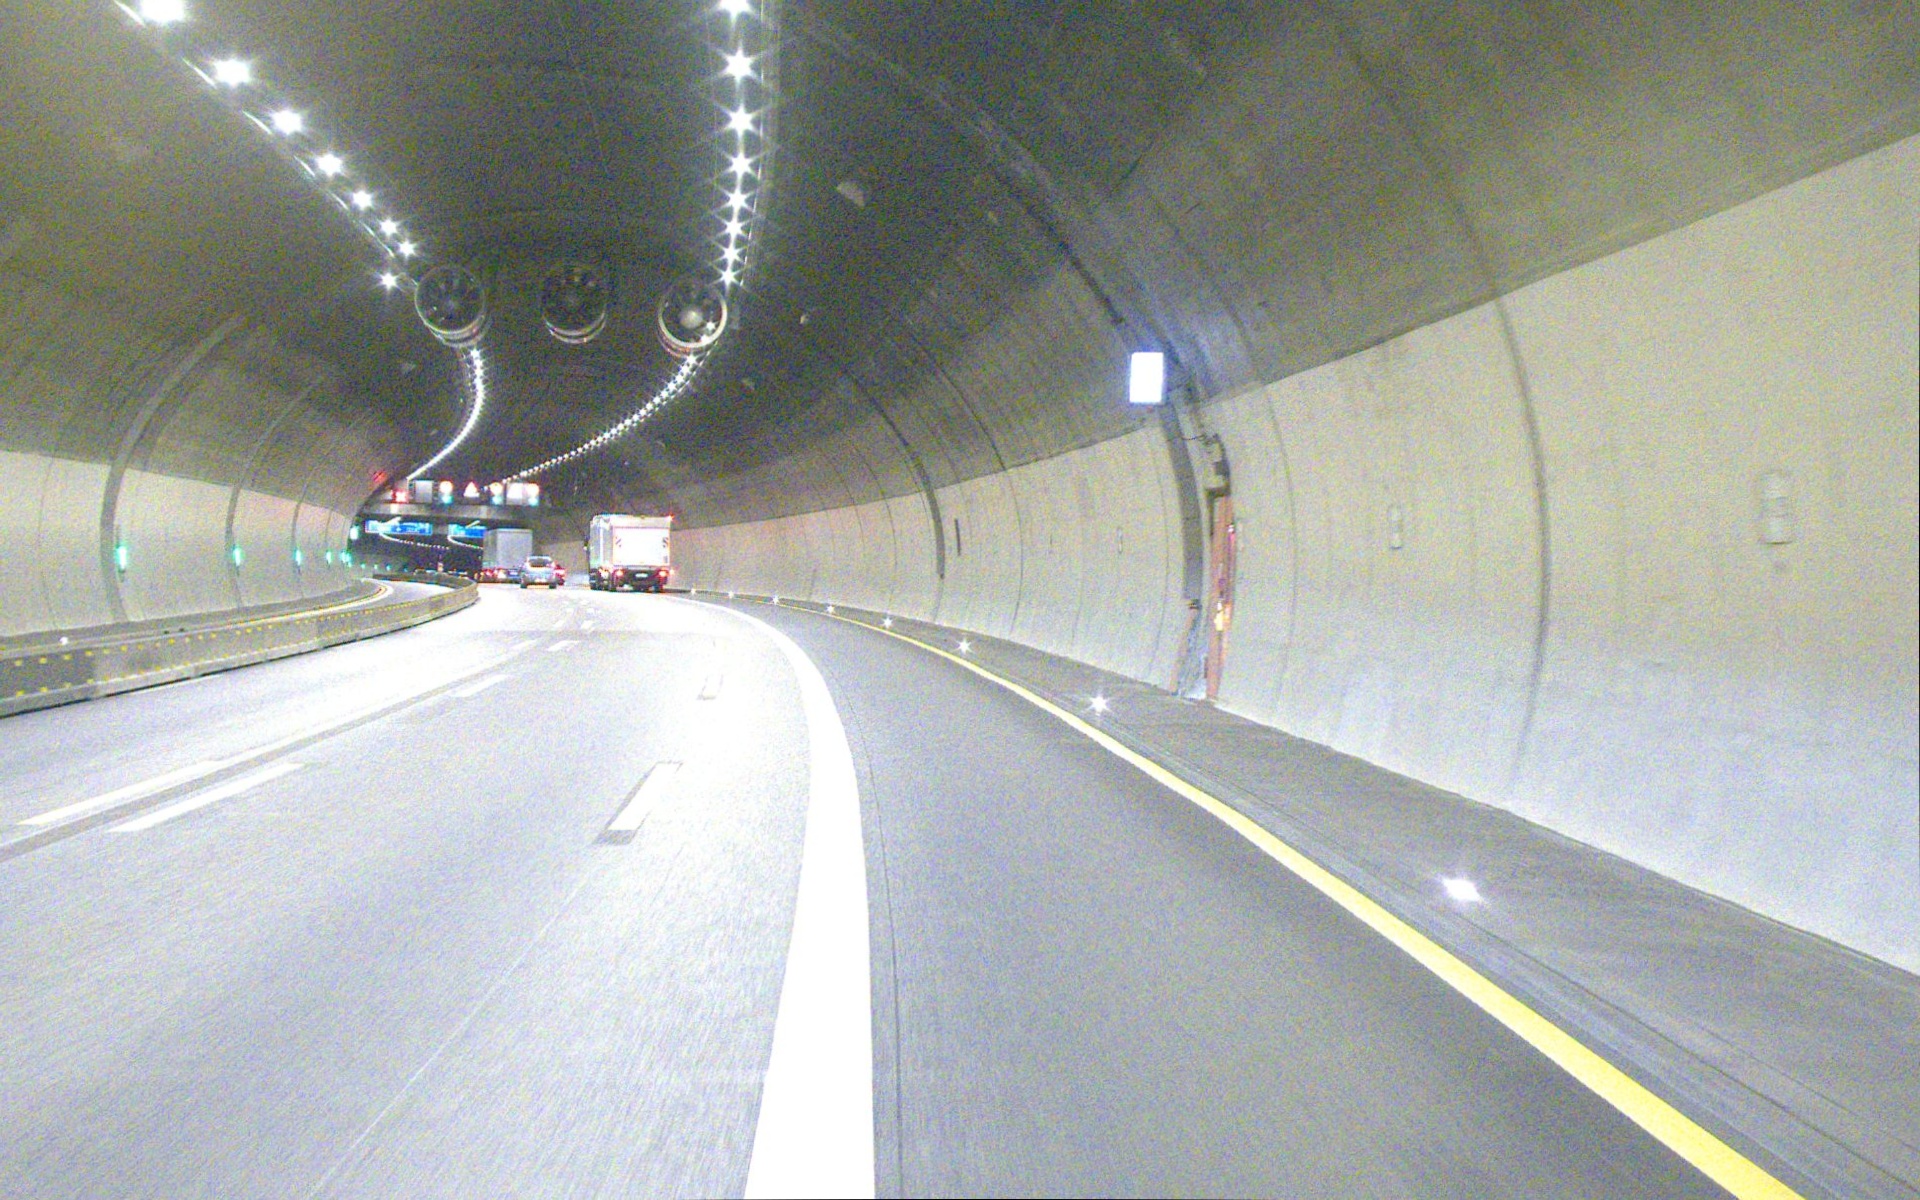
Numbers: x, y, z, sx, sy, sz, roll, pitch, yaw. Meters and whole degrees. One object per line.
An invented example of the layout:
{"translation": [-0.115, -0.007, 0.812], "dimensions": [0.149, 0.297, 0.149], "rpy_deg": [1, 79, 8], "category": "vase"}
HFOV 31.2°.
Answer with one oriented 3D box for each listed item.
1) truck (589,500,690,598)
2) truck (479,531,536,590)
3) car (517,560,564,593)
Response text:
{"translation": [-14.797, -2.335, 157.925], "dimensions": [3.473, 4.301, 10.955], "rpy_deg": [1, 1, -11], "category": "truck"}
{"translation": [-33.622, -2.925, 255.250], "dimensions": [3.473, 4.301, 10.955], "rpy_deg": [0, 1, -11], "category": "truck"}
{"translation": [-21.166, -1.194, 173.470], "dimensions": [1.993, 1.576, 4.001], "rpy_deg": [2, 0, -12], "category": "car"}
